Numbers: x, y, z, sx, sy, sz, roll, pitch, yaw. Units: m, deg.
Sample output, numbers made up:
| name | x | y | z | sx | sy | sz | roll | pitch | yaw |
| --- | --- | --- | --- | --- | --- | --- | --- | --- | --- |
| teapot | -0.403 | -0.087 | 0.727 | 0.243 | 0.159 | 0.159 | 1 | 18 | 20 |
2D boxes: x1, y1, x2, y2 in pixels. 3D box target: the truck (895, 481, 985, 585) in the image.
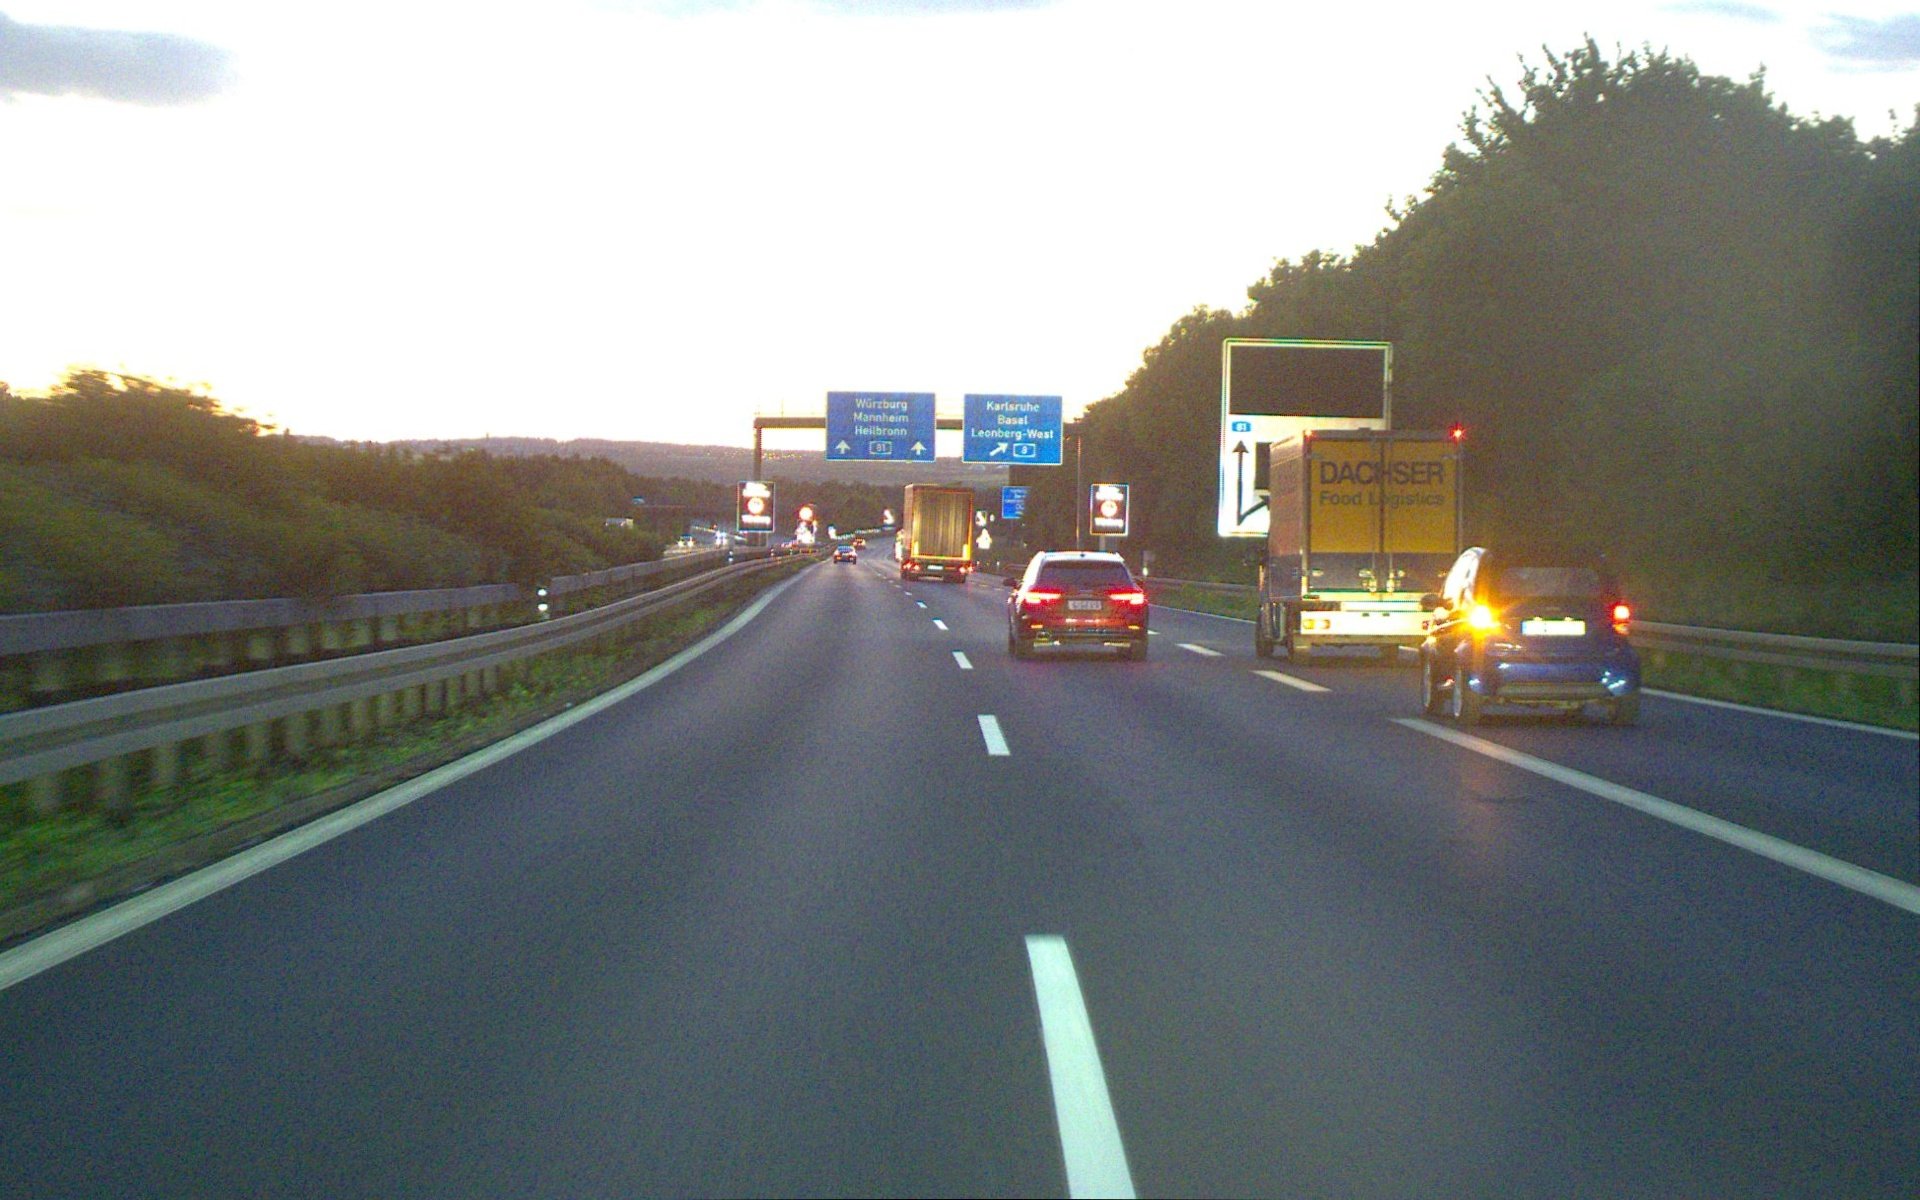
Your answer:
| name | x | y | z | sx | sy | sz | roll | pitch | yaw |
| --- | --- | --- | --- | --- | --- | --- | --- | --- | --- |
| truck | -0.922 | -2.827 | 147.547 | 3.509 | 4.286 | 9.892 | 1 | 0 | -2 |

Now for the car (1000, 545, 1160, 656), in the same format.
| name | x | y | z | sx | sy | sz | roll | pitch | yaw |
| --- | --- | --- | --- | --- | --- | --- | --- | --- | --- |
| car | 1.612 | -0.010 | 47.444 | 1.915 | 1.437 | 4.000 | 1 | 0 | -2 |

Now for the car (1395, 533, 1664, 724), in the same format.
| name | x | y | z | sx | sy | sz | roll | pitch | yaw |
| --- | --- | --- | --- | --- | --- | --- | --- | --- | --- |
| car | 4.909 | 0.222 | 30.024 | 1.610 | 1.550 | 3.319 | 1 | 0 | -3 |

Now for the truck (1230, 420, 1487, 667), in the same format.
| name | x | y | z | sx | sy | sz | roll | pitch | yaw |
| --- | --- | --- | --- | --- | --- | --- | --- | --- | --- |
| truck | 5.239 | -0.766 | 46.300 | 2.268 | 2.961 | 6.632 | 3 | 1 | -2 |
